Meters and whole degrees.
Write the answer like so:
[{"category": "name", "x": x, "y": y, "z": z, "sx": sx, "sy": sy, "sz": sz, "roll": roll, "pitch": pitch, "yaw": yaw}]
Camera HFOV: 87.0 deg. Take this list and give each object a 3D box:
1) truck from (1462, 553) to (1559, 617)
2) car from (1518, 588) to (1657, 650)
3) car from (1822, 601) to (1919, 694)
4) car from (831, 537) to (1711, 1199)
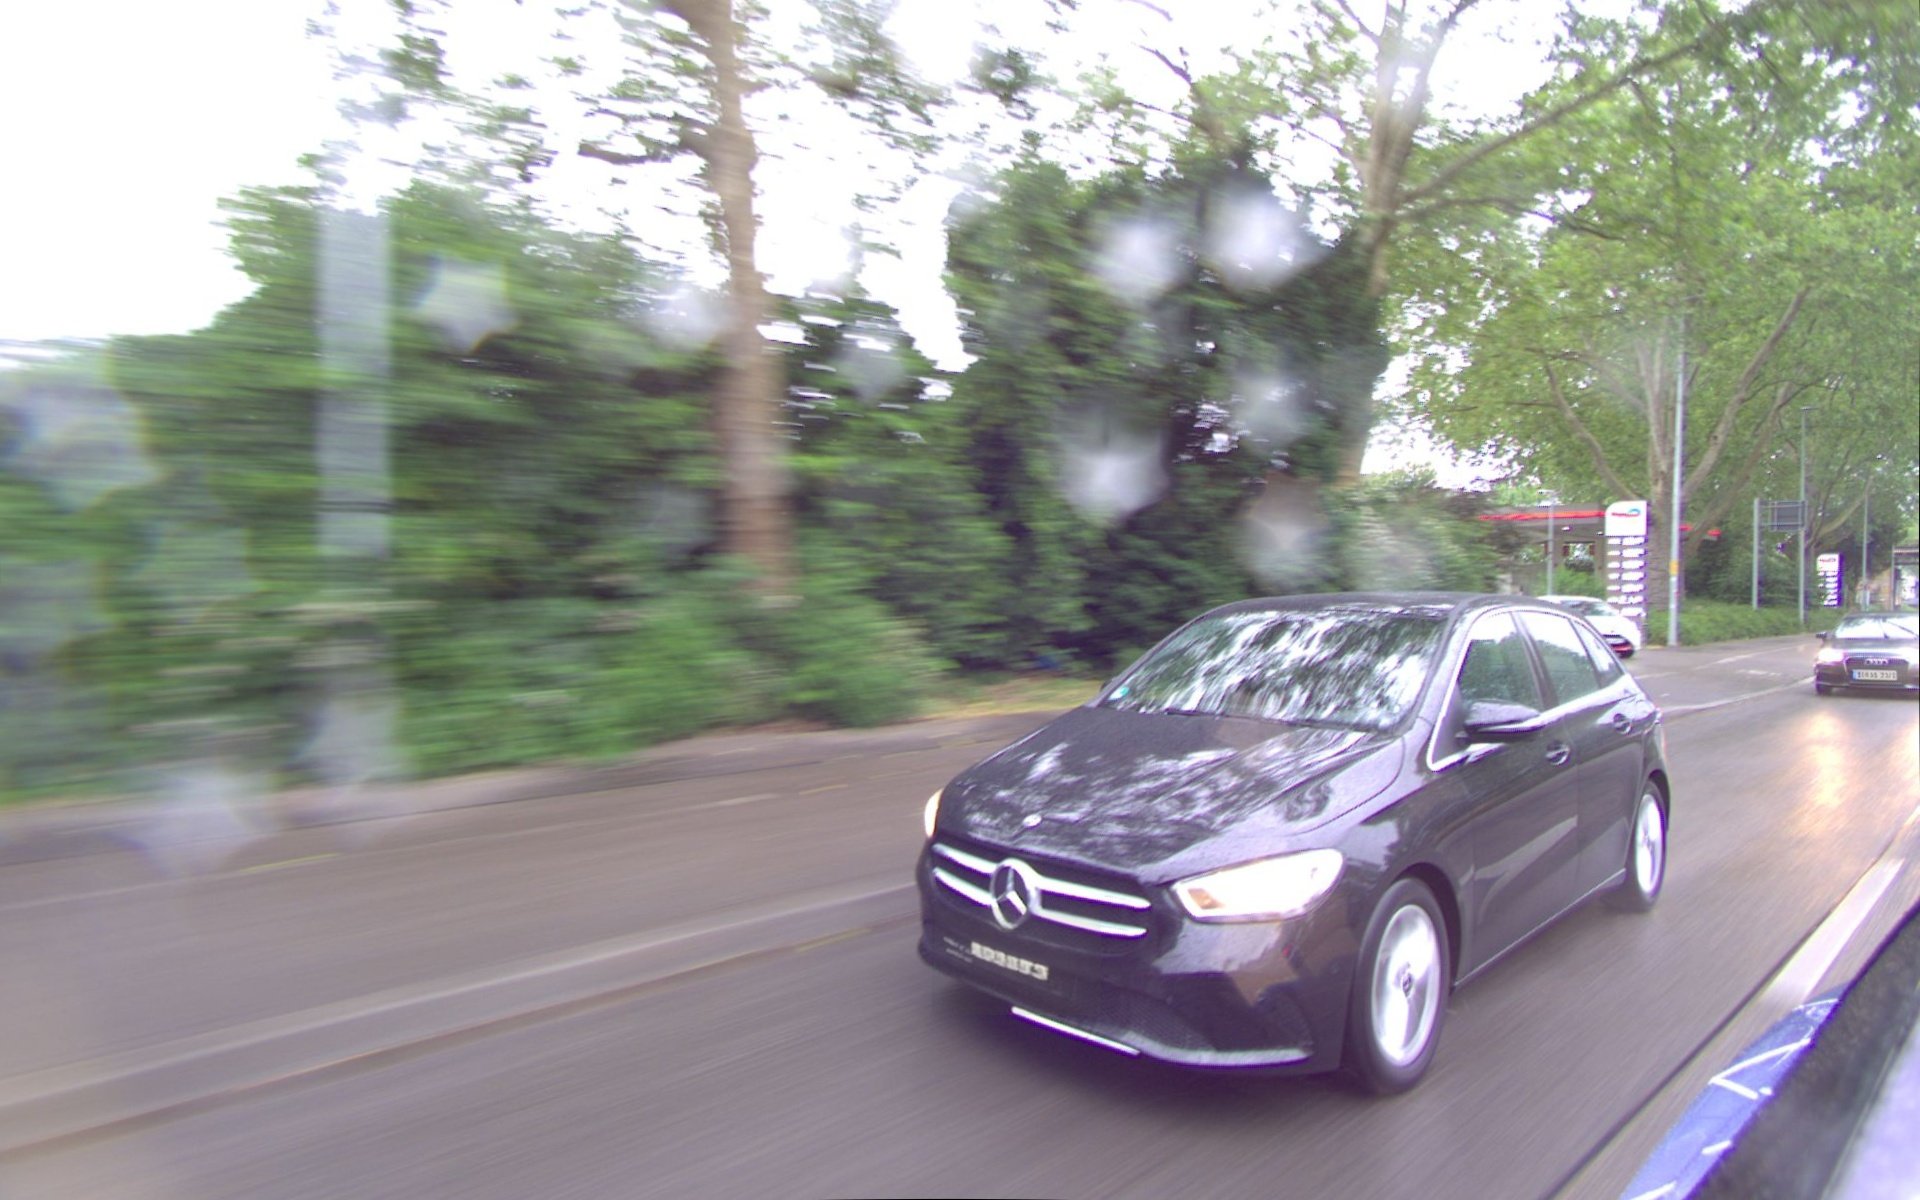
[{"category": "truck", "x": 31.432, "y": -0.809, "z": 57.631, "sx": 7.643, "sy": 3.395, "sz": 2.695, "roll": 0, "pitch": -1, "yaw": -45}, {"category": "car", "x": 15.799, "y": 0.471, "z": 25.691, "sx": 1.580, "sy": 1.450, "sz": 3.549, "roll": -1, "pitch": -1, "yaw": 6}, {"category": "car", "x": 16.104, "y": 0.736, "z": 17.207, "sx": 3.716, "sy": 1.402, "sz": 1.640, "roll": -1, "pitch": 0, "yaw": -41}, {"category": "car", "x": 1.730, "y": 0.633, "z": 4.481, "sx": 4.348, "sy": 1.549, "sz": 1.818, "roll": 0, "pitch": -1, "yaw": -43}]
